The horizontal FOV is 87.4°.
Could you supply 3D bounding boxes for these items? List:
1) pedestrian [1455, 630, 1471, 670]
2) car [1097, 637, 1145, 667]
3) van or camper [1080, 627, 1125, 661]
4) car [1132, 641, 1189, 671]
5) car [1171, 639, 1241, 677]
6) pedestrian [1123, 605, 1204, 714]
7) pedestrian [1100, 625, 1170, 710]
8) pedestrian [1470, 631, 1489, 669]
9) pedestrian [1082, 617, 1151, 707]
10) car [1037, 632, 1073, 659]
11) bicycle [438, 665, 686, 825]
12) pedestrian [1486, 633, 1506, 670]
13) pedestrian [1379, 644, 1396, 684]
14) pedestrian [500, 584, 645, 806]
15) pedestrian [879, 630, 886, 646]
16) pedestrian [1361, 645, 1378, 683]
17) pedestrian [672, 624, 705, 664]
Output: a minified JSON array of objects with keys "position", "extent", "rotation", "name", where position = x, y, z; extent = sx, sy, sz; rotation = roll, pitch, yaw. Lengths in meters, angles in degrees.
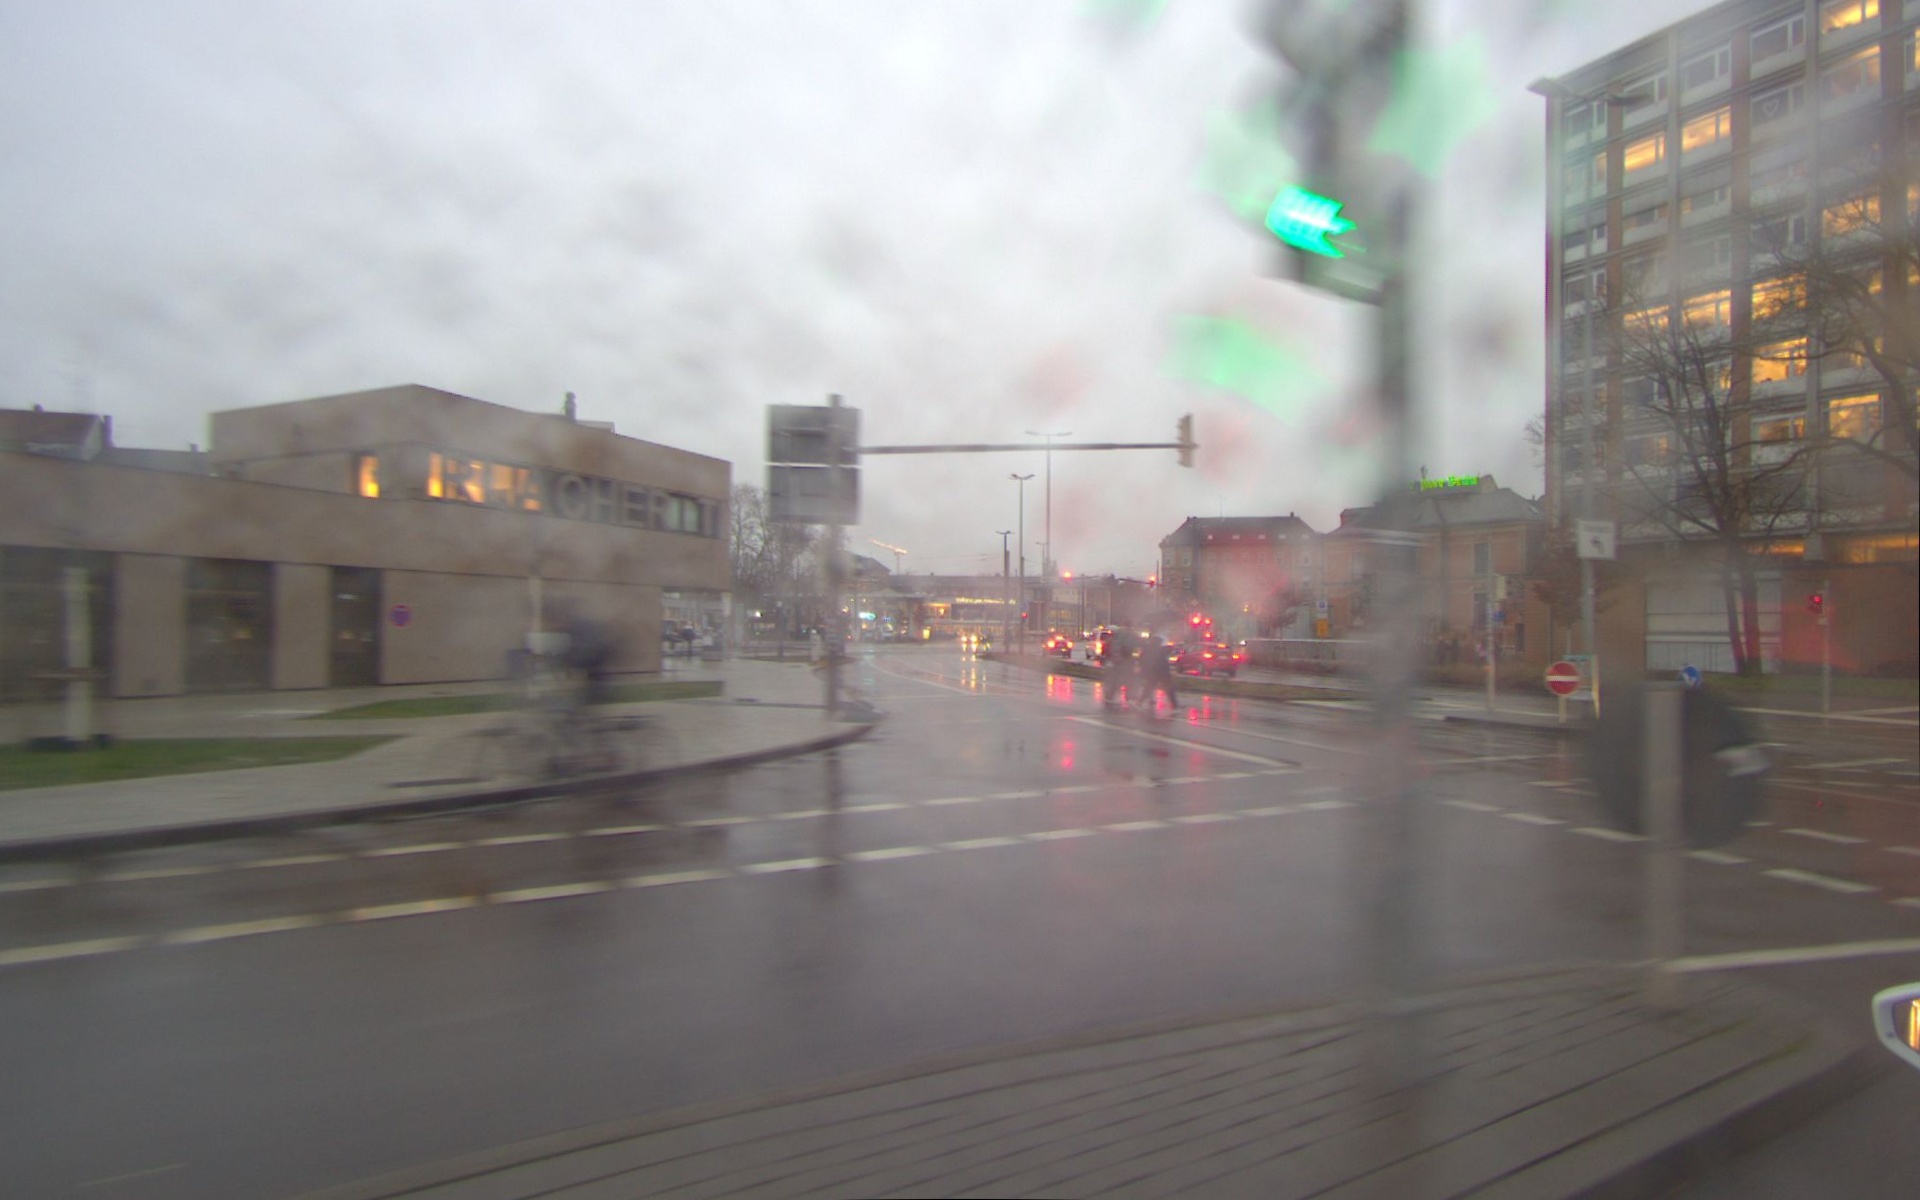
[{"position":[23.201,2.291,46.335],"extent":[0.574,1.805,0.769],"rotation":[-2,-2,22],"name":"pedestrian"},{"position":[9.499,3.055,59.547],"extent":[1.757,1.621,4.539],"rotation":[3,-2,-4],"name":"car"},{"position":[9.607,2.996,68.265],"extent":[2.166,2.137,4.987],"rotation":[2,-2,-1],"name":"van or camper"},{"position":[10.401,2.899,52.441],"extent":[1.634,1.422,4.116],"rotation":[3,-2,-8],"name":"car"},{"position":[11.169,2.625,45.836],"extent":[1.675,1.501,3.866],"rotation":[4,-2,-9],"name":"car"},{"position":[4.017,1.159,19.905],"extent":[1.194,2.077,1.032],"rotation":[1,1,-13],"name":"pedestrian"},{"position":[4.082,1.543,23.505],"extent":[1.024,1.883,1.223],"rotation":[1,1,-34],"name":"pedestrian"},{"position":[23.774,2.292,45.946],"extent":[0.657,1.710,0.611],"rotation":[-2,0,22],"name":"pedestrian"},{"position":[3.436,1.337,22.076],"extent":[1.027,1.883,1.057],"rotation":[1,1,-42],"name":"pedestrian"},{"position":[6.617,3.189,70.240],"extent":[1.855,1.795,3.998],"rotation":[1,-2,-4],"name":"car"},{"position":[-3.328,1.162,8.532],"extent":[1.859,1.191,0.617],"rotation":[2,-4,-42],"name":"bicycle"},{"position":[24.501,2.348,45.929],"extent":[0.706,1.710,0.760],"rotation":[0,-2,21],"name":"pedestrian"},{"position":[22.965,3.437,53.993],"extent":[0.794,2.041,0.760],"rotation":[2,1,22],"name":"pedestrian"},{"position":[-3.303,0.775,8.571],"extent":[0.974,1.756,0.709],"rotation":[2,-3,-41],"name":"pedestrian"},{"position":[-9.188,4.472,118.708],"extent":[0.818,1.844,0.696],"rotation":[0,-2,-4],"name":"pedestrian"},{"position":[22.129,3.443,54.302],"extent":[0.794,1.956,0.760],"rotation":[2,1,22],"name":"pedestrian"},{"position":[-13.262,2.123,49.047],"extent":[1.043,1.944,1.122],"rotation":[-1,-1,29],"name":"pedestrian"}]
